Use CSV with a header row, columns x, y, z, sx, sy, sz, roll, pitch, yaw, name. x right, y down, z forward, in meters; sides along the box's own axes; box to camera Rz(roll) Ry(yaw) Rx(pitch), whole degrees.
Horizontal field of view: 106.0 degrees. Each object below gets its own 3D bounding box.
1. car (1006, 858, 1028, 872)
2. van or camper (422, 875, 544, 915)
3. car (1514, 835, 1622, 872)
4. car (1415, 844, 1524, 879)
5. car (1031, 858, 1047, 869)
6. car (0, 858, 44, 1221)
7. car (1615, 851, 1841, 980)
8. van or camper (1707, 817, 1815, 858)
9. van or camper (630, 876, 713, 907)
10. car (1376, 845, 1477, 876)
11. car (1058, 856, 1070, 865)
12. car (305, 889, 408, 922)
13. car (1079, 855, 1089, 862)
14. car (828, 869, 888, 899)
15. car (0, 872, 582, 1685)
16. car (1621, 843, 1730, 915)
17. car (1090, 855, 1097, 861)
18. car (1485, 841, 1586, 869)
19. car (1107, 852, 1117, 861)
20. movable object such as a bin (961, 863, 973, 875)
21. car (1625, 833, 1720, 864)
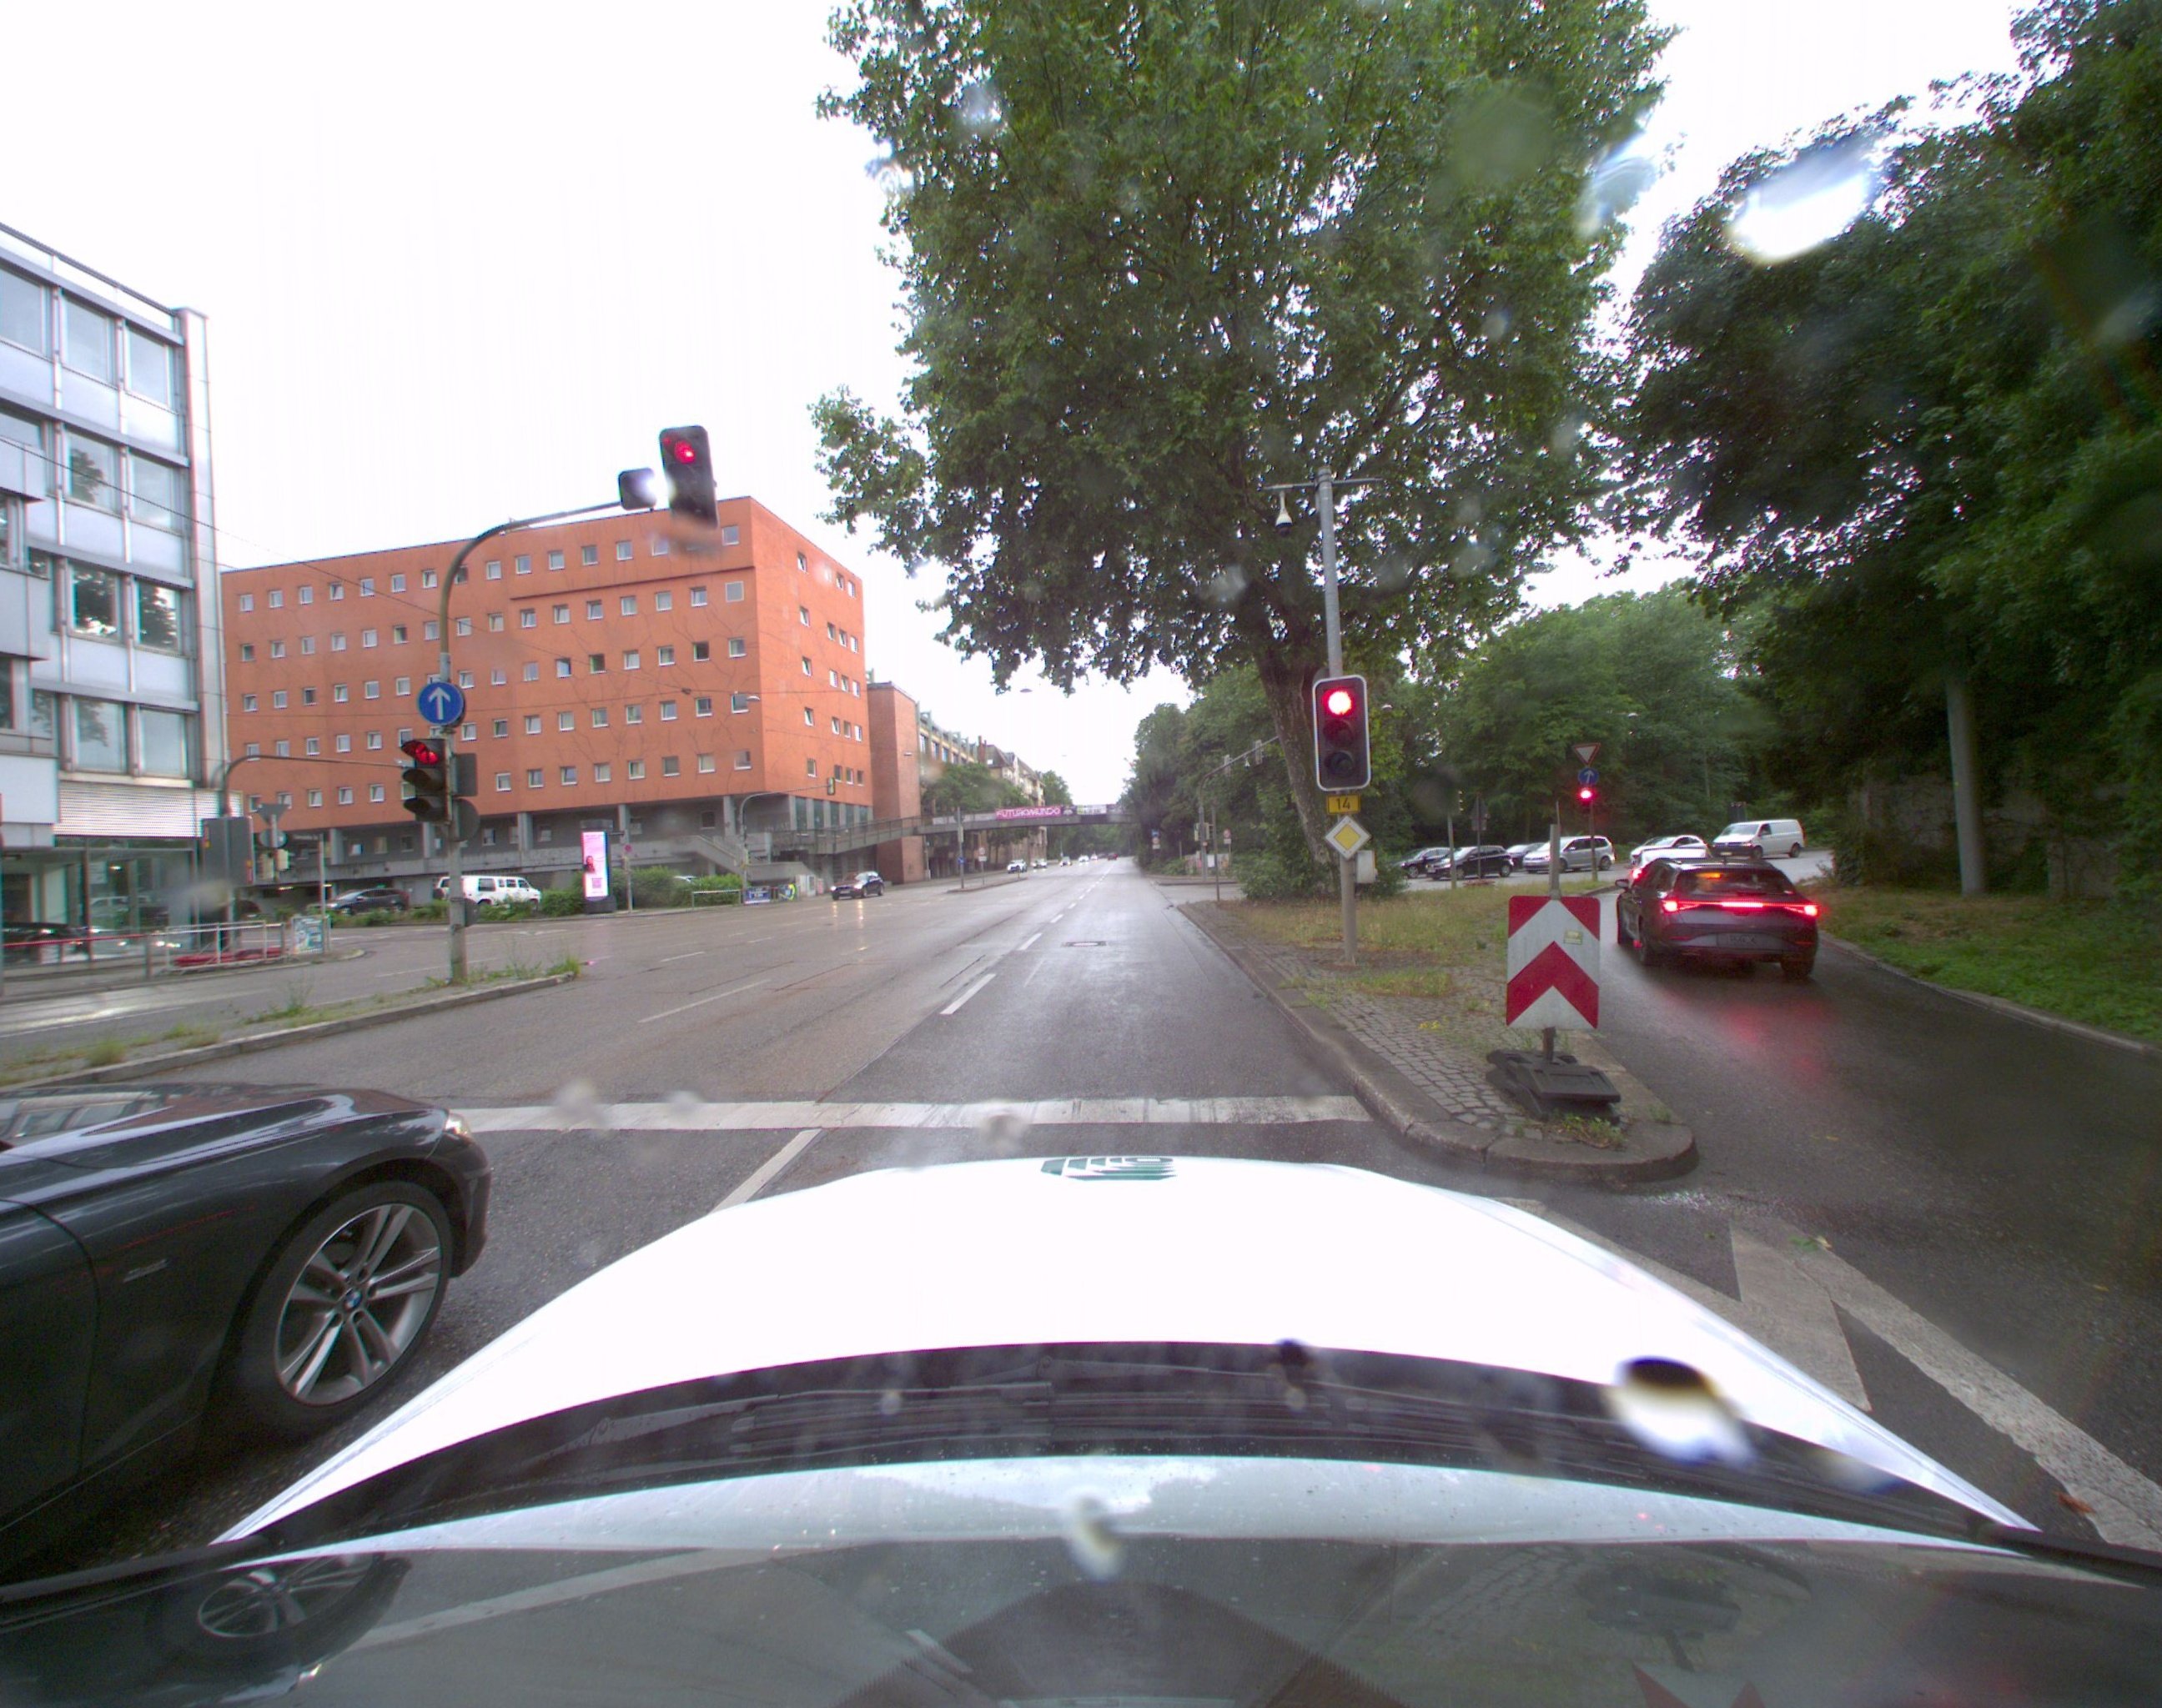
x,y,z,sx,sy,sz,roll,pitch,yaw,name
-7.868,1.380,100.393,1.881,1.610,4.461,-3,-1,4,car
-32.831,2.210,44.970,2.113,1.977,5.466,0,-1,9,van or camper
22.618,-0.030,37.832,4.203,1.680,1.898,0,-1,-14,car
17.160,0.329,36.031,4.192,1.460,1.784,0,-1,-14,car
-6.355,1.456,123.982,1.701,1.464,4.047,-3,-1,5,car
-5.996,0.837,1.696,1.801,1.656,4.449,0,-1,4,car
8.703,0.674,11.369,1.732,1.403,4.441,1,1,29,car
34.687,-0.853,41.580,4.862,1.947,1.896,-1,-1,-18,van or camper
-24.261,2.212,48.322,3.965,1.627,1.918,-3,0,8,van or camper
16.866,0.327,39.813,4.205,1.440,1.941,0,-1,-14,car
-2.791,1.053,134.685,1.676,1.436,3.865,-3,-1,3,car
-40.251,2.802,45.401,1.699,1.612,4.097,0,-1,9,car
0.700,1.010,169.762,1.823,1.393,4.409,-4,-1,3,car
-11.844,1.550,43.481,1.678,1.419,4.220,-4,-1,5,car
-2.919,0.828,0.888,1.769,1.458,4.480,-3,-1,3,car
14.070,0.495,19.356,1.834,1.448,4.648,2,2,36,car
3.362,1.109,216.360,1.594,1.499,3.715,-4,-1,3,car
22.985,0.052,41.234,4.438,1.402,1.821,0,-1,-14,car
6.446,0.555,169.272,1.998,1.643,4.376,-3,0,0,car
-15.127,1.946,107.670,1.277,1.518,1.274,-3,0,3,movable object such as a bin
28.843,-0.279,39.722,3.857,1.461,1.650,0,-1,-14,car
